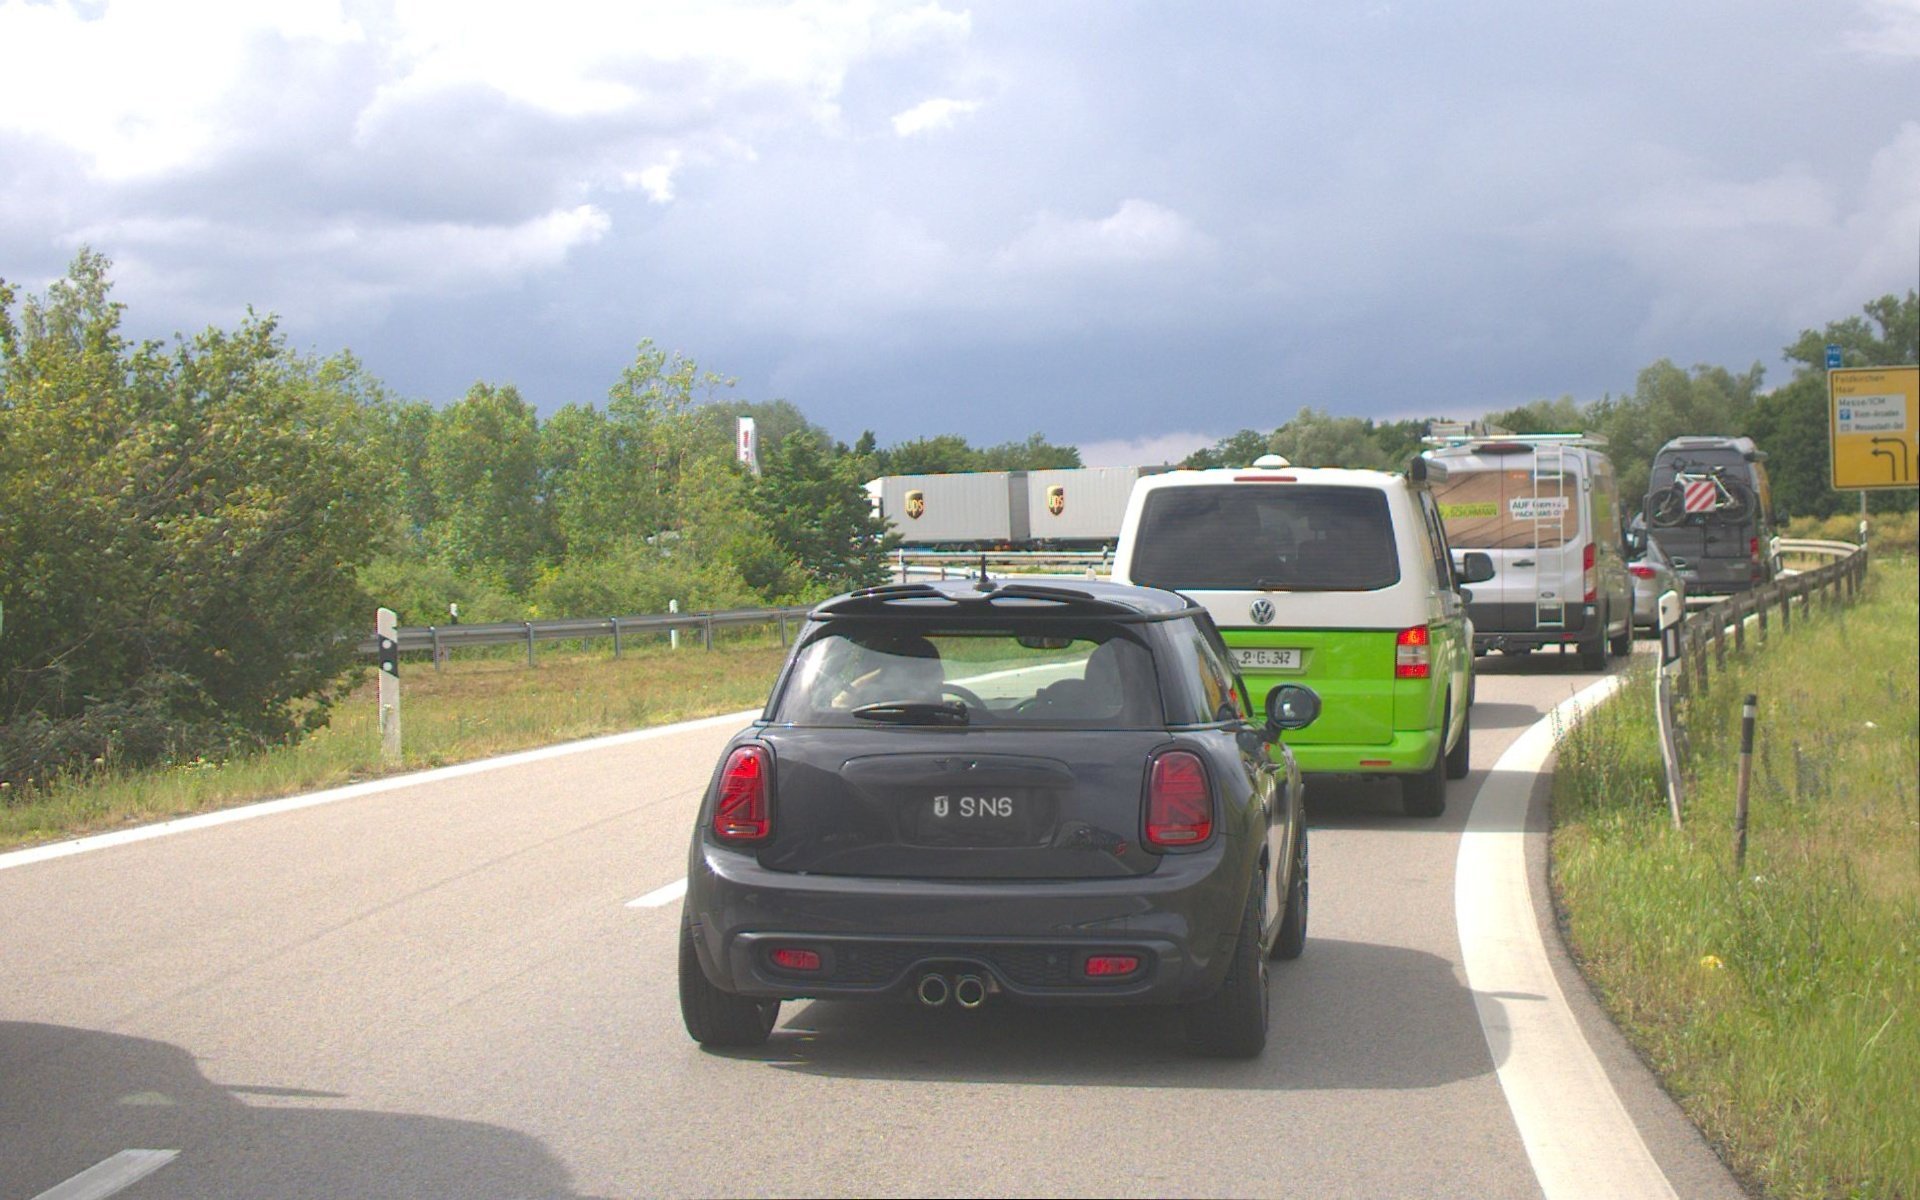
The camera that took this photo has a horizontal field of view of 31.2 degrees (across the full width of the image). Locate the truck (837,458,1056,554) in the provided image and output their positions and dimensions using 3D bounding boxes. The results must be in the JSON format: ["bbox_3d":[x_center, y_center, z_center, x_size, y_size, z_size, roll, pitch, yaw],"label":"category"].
[{"bbox_3d":[-0.647,-4.024,148.366,10.021,3.962,2.838,1,0,41],"label":"truck"}]

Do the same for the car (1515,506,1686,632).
[{"bbox_3d":[8.875,-0.420,47.420,1.995,1.636,3.926,1,0,15],"label":"car"}]

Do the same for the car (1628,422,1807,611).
[{"bbox_3d":[13.140,-1.382,59.322,2.313,3.058,6.656,1,0,18],"label":"car"}]

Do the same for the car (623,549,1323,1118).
[{"bbox_3d":[0.216,0.610,11.398,1.800,1.541,3.737,0,1,8],"label":"car"}]

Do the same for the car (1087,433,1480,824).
[{"bbox_3d":[2.006,0.119,20.161,1.912,2.038,4.179,0,1,11],"label":"car"}]

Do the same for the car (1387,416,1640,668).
[{"bbox_3d":[6.329,-0.629,38.742,2.213,2.613,5.530,1,0,15],"label":"car"}]

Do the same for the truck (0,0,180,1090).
[{"bbox_3d":[-4.132,-0.209,7.516,2.560,3.157,7.467,1,0,5],"label":"truck"}]

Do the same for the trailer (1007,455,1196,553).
[{"bbox_3d":[5.757,-3.902,141.563,3.036,3.884,8.772,1,0,-35],"label":"trailer"}]
